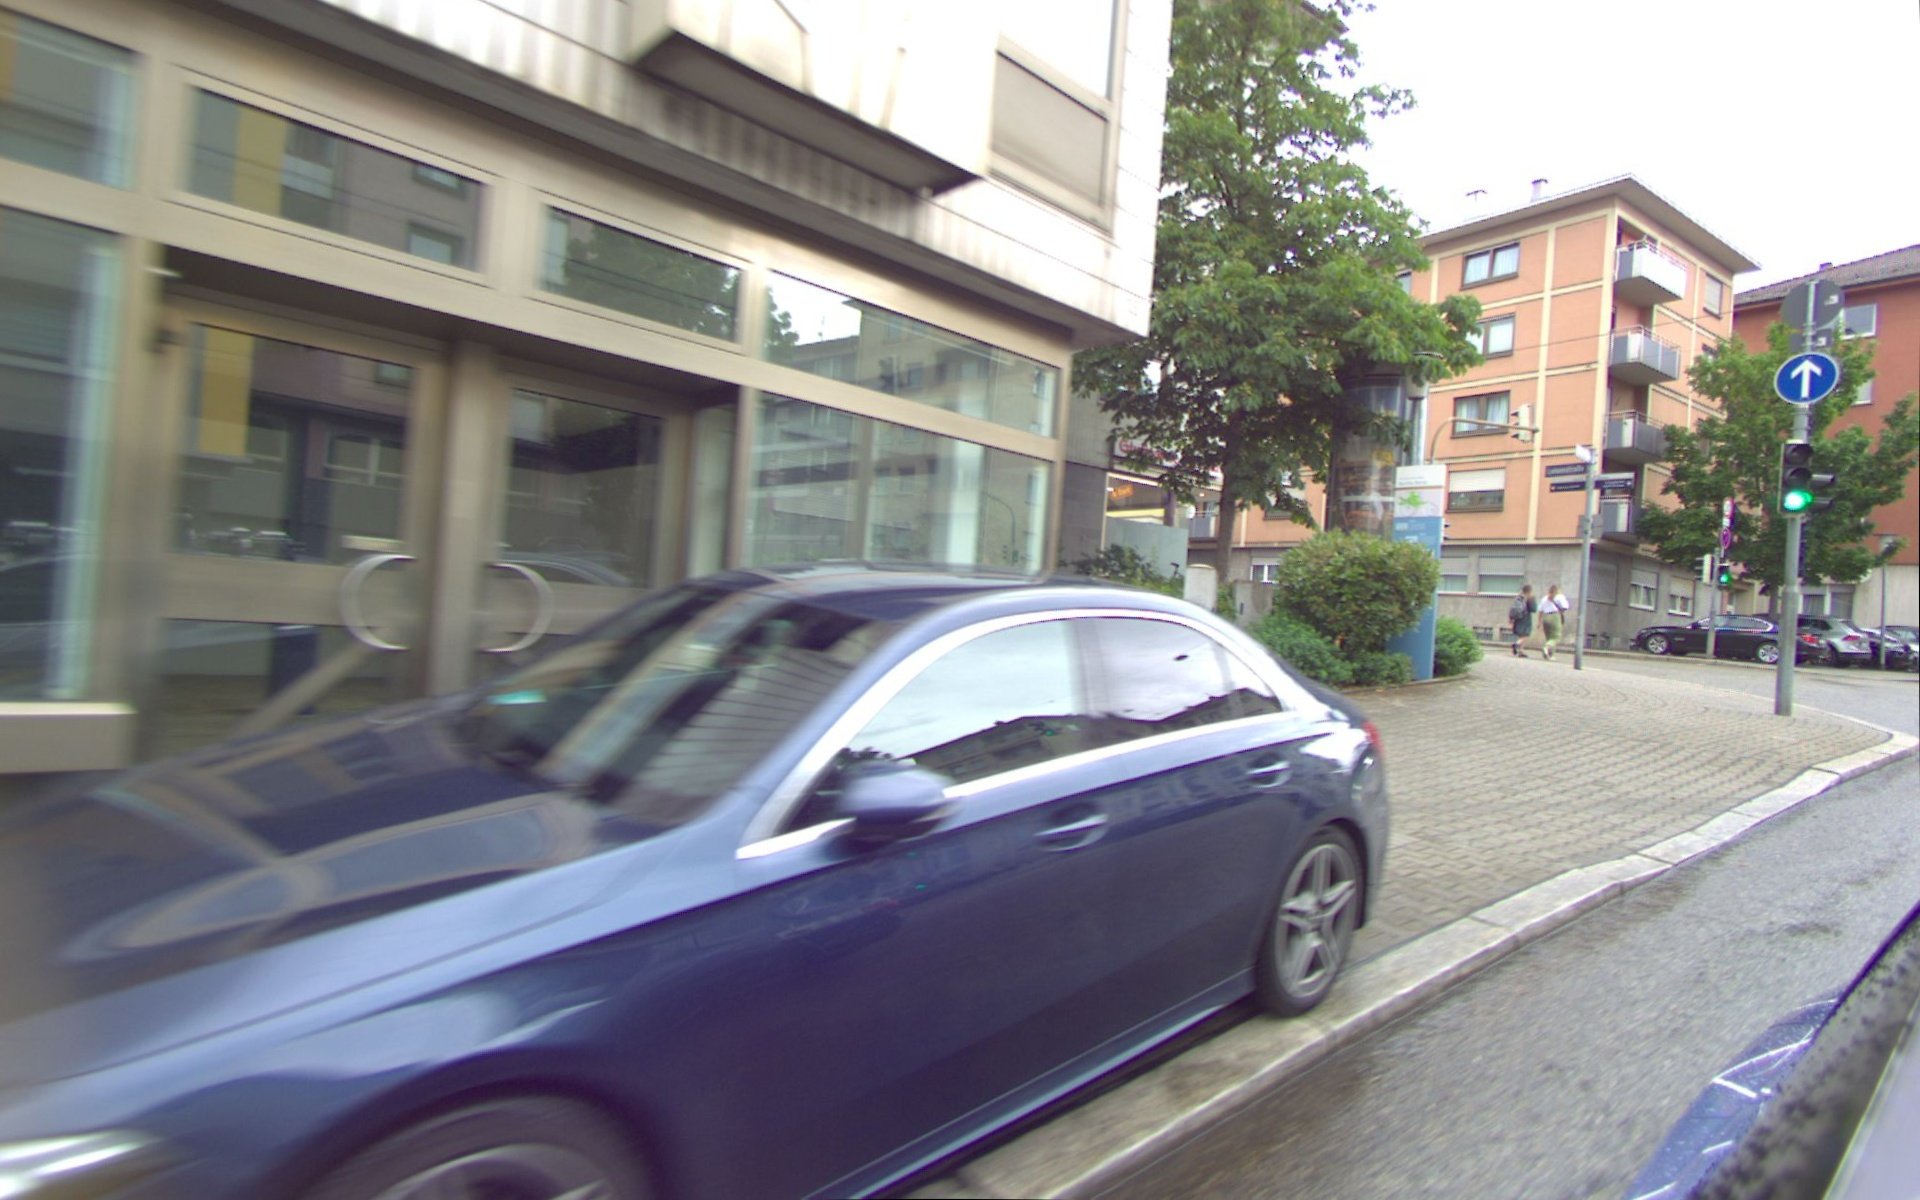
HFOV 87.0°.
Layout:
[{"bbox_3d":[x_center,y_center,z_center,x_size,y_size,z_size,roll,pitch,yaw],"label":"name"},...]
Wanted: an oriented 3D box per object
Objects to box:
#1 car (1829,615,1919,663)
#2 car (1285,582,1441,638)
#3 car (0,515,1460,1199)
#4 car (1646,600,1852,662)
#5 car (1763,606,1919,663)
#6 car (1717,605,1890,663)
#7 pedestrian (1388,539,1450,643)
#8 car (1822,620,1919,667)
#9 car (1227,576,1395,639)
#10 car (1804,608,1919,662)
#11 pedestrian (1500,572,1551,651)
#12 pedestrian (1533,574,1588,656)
[{"bbox_3d":[36.486,1.528,39.076,1.958,1.728,4.007,5,-3,-22],"label":"car"},{"bbox_3d":[12.027,0.265,30.415,1.814,1.508,4.002,2,0,-33],"label":"car"},{"bbox_3d":[-0.372,0.556,2.979,4.303,1.408,1.767,0,4,-42],"label":"car"},{"bbox_3d":[24.962,0.941,32.228,1.813,1.573,4.801,3,1,-32],"label":"car"},{"bbox_3d":[30.309,1.156,34.608,1.951,1.741,4.008,2,0,-23],"label":"car"},{"bbox_3d":[27.699,1.087,33.335,1.955,1.681,4.001,3,0,-35],"label":"car"},{"bbox_3d":[8.551,-0.183,18.881,0.744,1.840,0.914,4,1,13],"label":"pedestrian"},{"bbox_3d":[34.445,1.594,37.161,1.639,1.602,4.007,5,-3,-16],"label":"car"},{"bbox_3d":[9.445,0.167,27.482,1.814,1.532,4.002,2,0,-33],"label":"car"},{"bbox_3d":[32.526,1.226,35.562,1.762,1.719,4.008,5,-1,-21],"label":"car"},{"bbox_3d":[12.592,0.254,22.561,0.701,1.667,0.754,6,0,19],"label":"pedestrian"},{"bbox_3d":[12.923,0.330,21.813,0.750,1.667,0.705,6,0,20],"label":"pedestrian"}]
